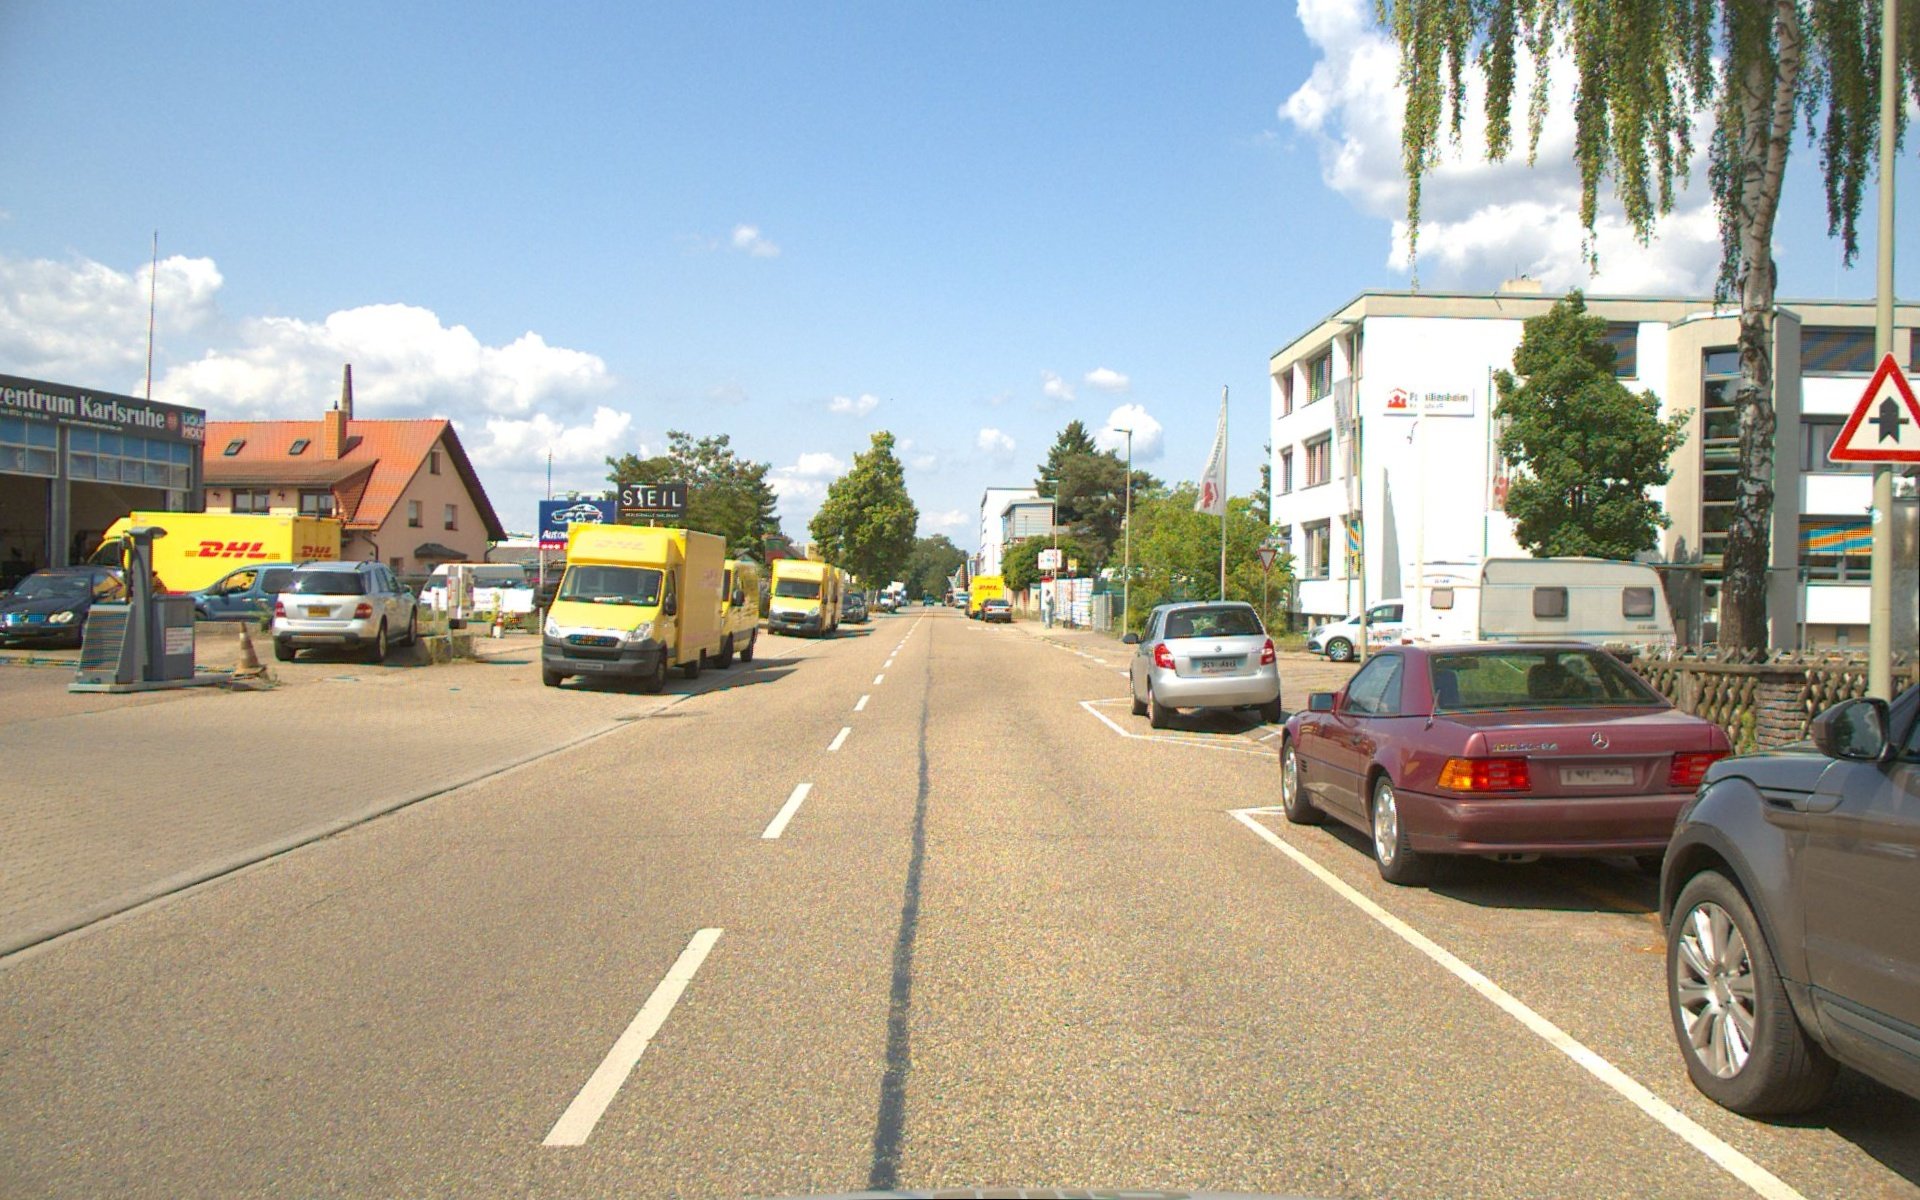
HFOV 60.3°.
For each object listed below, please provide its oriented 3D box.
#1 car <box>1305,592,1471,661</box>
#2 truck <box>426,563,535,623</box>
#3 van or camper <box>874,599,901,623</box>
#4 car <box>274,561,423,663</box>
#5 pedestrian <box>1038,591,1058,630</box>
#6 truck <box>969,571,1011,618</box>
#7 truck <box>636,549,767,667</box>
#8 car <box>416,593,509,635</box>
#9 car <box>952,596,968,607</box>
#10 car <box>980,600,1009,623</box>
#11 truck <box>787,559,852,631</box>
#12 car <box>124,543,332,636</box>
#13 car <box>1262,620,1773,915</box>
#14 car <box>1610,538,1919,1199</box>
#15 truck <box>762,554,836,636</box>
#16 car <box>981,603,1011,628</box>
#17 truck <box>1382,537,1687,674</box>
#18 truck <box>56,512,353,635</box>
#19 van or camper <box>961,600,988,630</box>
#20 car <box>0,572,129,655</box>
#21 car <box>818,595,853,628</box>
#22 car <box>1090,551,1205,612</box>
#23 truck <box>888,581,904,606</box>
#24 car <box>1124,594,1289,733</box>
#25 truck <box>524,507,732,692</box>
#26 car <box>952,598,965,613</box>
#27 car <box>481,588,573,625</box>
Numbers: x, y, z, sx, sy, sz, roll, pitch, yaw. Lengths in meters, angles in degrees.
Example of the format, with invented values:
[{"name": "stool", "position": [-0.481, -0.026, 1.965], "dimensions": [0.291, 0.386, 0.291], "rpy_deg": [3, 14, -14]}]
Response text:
[{"name": "car", "position": [11.768, 0.720, 45.429], "dimensions": [4.302, 1.783, 1.865], "rpy_deg": [1, -2, 17]}, {"name": "truck", "position": [-20.968, -0.302, 72.650], "dimensions": [2.065, 2.531, 5.725], "rpy_deg": [1, 0, 12]}, {"name": "van or camper", "position": [-7.564, 1.130, 173.206], "dimensions": [2.128, 2.455, 7.699], "rpy_deg": [1, 0, 2]}, {"name": "car", "position": [-11.623, 0.170, 31.735], "dimensions": [1.795, 1.735, 4.698], "rpy_deg": [1, 2, -9]}, {"name": "pedestrian", "position": [4.085, 0.476, 76.694], "dimensions": [0.702, 1.726, 0.522], "rpy_deg": [-5, 0, -6]}, {"name": "truck", "position": [2.000, -0.371, 113.897], "dimensions": [2.425, 2.991, 7.185], "rpy_deg": [2, 0, -2]}, {"name": "truck", "position": [-5.760, 0.155, 37.595], "dimensions": [1.952, 2.456, 6.064], "rpy_deg": [1, 0, 0]}, {"name": "car", "position": [-19.106, 0.518, 63.677], "dimensions": [1.727, 1.539, 3.921], "rpy_deg": [1, 0, 12]}, {"name": "car", "position": [-0.010, 0.131, 206.932], "dimensions": [1.889, 1.333, 3.999], "rpy_deg": [0, 0, -1]}, {"name": "car", "position": [2.211, 0.728, 107.540], "dimensions": [1.629, 1.466, 4.281], "rpy_deg": [1, 0, -3]}, {"name": "truck", "position": [-6.152, -0.223, 73.398], "dimensions": [2.269, 2.912, 7.103], "rpy_deg": [3, 0, -1]}, {"name": "car", "position": [-16.515, -0.238, 37.416], "dimensions": [3.845, 1.841, 1.857], "rpy_deg": [3, 0, 9]}, {"name": "car", "position": [3.166, 0.860, 10.404], "dimensions": [1.635, 1.358, 4.437], "rpy_deg": [1, 0, -1]}, {"name": "car", "position": [3.248, 0.696, 3.773], "dimensions": [1.795, 1.668, 4.239], "rpy_deg": [1, 0, -1]}, {"name": "truck", "position": [-6.122, -0.138, 63.799], "dimensions": [2.223, 2.904, 7.172], "rpy_deg": [2, -1, -2]}, {"name": "car", "position": [2.209, 0.930, 102.393], "dimensions": [1.618, 1.411, 4.422], "rpy_deg": [2, 1, -1]}, {"name": "truck", "position": [11.866, 0.136, 34.111], "dimensions": [5.968, 2.622, 2.544], "rpy_deg": [1, 0, -27]}, {"name": "truck", "position": [-18.778, -0.659, 41.209], "dimensions": [6.457, 2.900, 2.531], "rpy_deg": [1, 0, 12]}, {"name": "van or camper", "position": [1.125, 1.216, 133.924], "dimensions": [1.953, 2.331, 5.446], "rpy_deg": [2, 0, -1]}, {"name": "car", "position": [-17.689, 0.214, 32.385], "dimensions": [1.641, 1.310, 3.996], "rpy_deg": [1, 4, -13]}, {"name": "car", "position": [-6.832, 0.615, 91.113], "dimensions": [1.690, 1.632, 4.412], "rpy_deg": [4, 0, -3]}, {"name": "car", "position": [8.507, -0.816, 75.105], "dimensions": [4.815, 2.698, 2.069], "rpy_deg": [1, 0, -9]}, {"name": "truck", "position": [-8.465, -0.850, 218.582], "dimensions": [1.988, 3.209, 6.498], "rpy_deg": [0, 0, -1]}, {"name": "car", "position": [3.143, 0.750, 21.742], "dimensions": [1.577, 1.608, 4.000], "rpy_deg": [2, 0, 1]}, {"name": "truck", "position": [-5.853, -0.022, 30.251], "dimensions": [2.175, 2.907, 7.069], "rpy_deg": [2, 0, 1]}, {"name": "car", "position": [-0.172, 0.737, 230.876], "dimensions": [1.673, 2.126, 3.999], "rpy_deg": [0, 0, -2]}, {"name": "car", "position": [-16.489, 0.233, 63.218], "dimensions": [1.771, 1.328, 3.872], "rpy_deg": [0, 1, 14]}]
